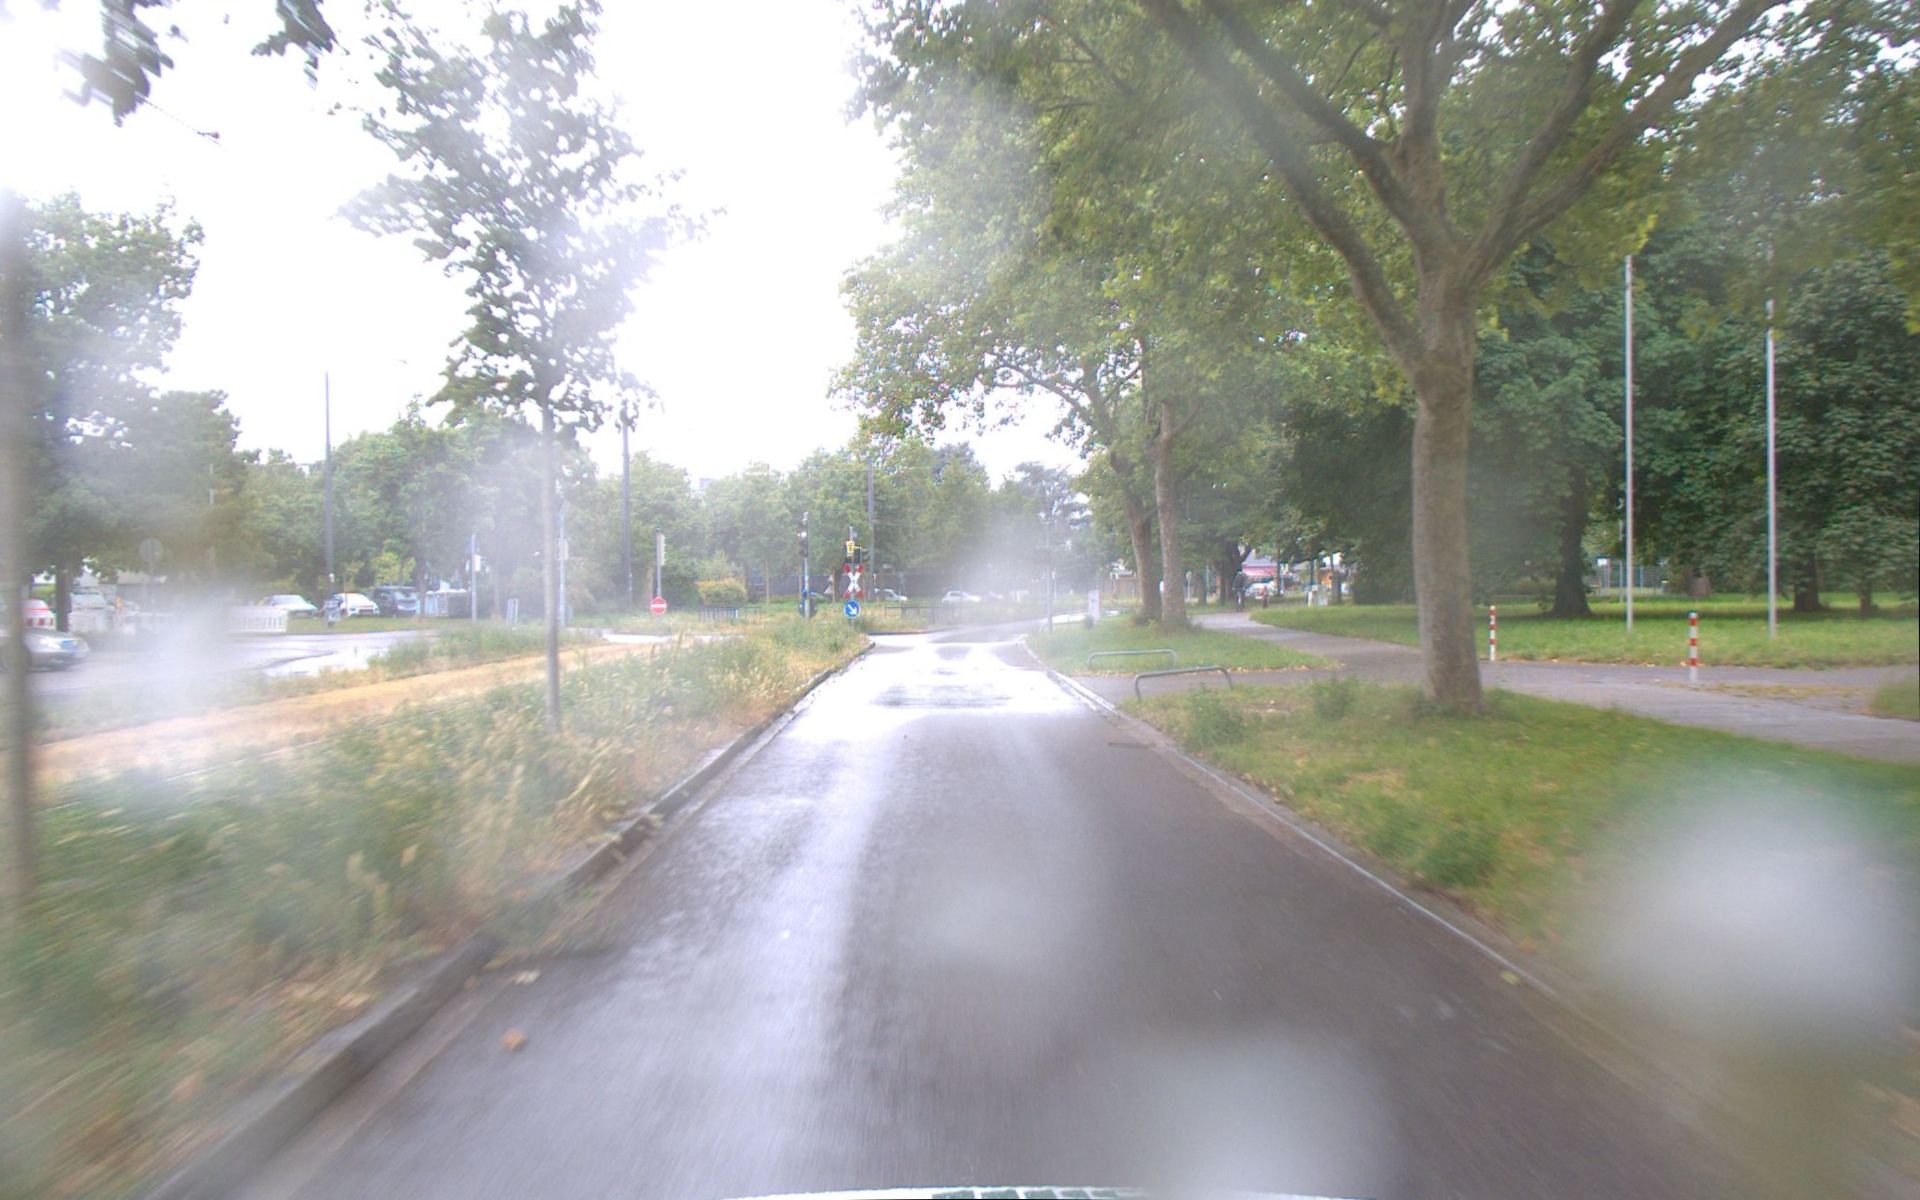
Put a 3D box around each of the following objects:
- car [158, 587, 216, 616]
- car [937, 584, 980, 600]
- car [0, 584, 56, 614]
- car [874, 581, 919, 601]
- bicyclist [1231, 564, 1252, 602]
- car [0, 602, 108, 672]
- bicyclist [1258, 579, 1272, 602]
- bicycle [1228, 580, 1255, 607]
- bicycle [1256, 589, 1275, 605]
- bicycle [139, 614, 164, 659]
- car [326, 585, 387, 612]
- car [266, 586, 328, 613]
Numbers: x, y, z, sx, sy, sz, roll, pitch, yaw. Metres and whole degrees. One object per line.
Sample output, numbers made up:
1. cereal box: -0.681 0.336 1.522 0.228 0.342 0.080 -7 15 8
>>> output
1. car: -36.941 0.079 78.998 1.649 1.271 3.689 -2 0 -39
2. car: -0.153 -0.802 163.258 3.979 1.525 1.653 -1 0 16
3. car: -41.845 -0.027 74.134 1.649 1.271 3.689 -2 0 -39
4. car: -6.307 -0.906 165.112 4.121 1.827 1.653 -1 1 19
5. bicyclist: 13.097 -0.777 76.832 0.697 1.751 0.956 0 2 27
6. car: -20.664 0.758 34.654 4.629 1.389 1.848 0 1 -1
7. bicyclist: 14.077 -0.443 76.301 0.477 1.056 0.591 -1 1 27
8. bicycle: 13.102 -0.301 76.838 0.697 1.162 1.970 0 2 26
9. bicycle: 14.104 -0.138 76.342 0.477 0.721 1.456 -1 1 26
10. bicycle: -19.865 0.884 40.633 0.474 1.037 1.827 2 0 -25
11. car: -30.537 -0.083 83.662 1.651 1.271 3.685 -2 0 -42
12. car: -32.564 -0.022 81.220 1.651 1.271 3.685 -2 0 -42
